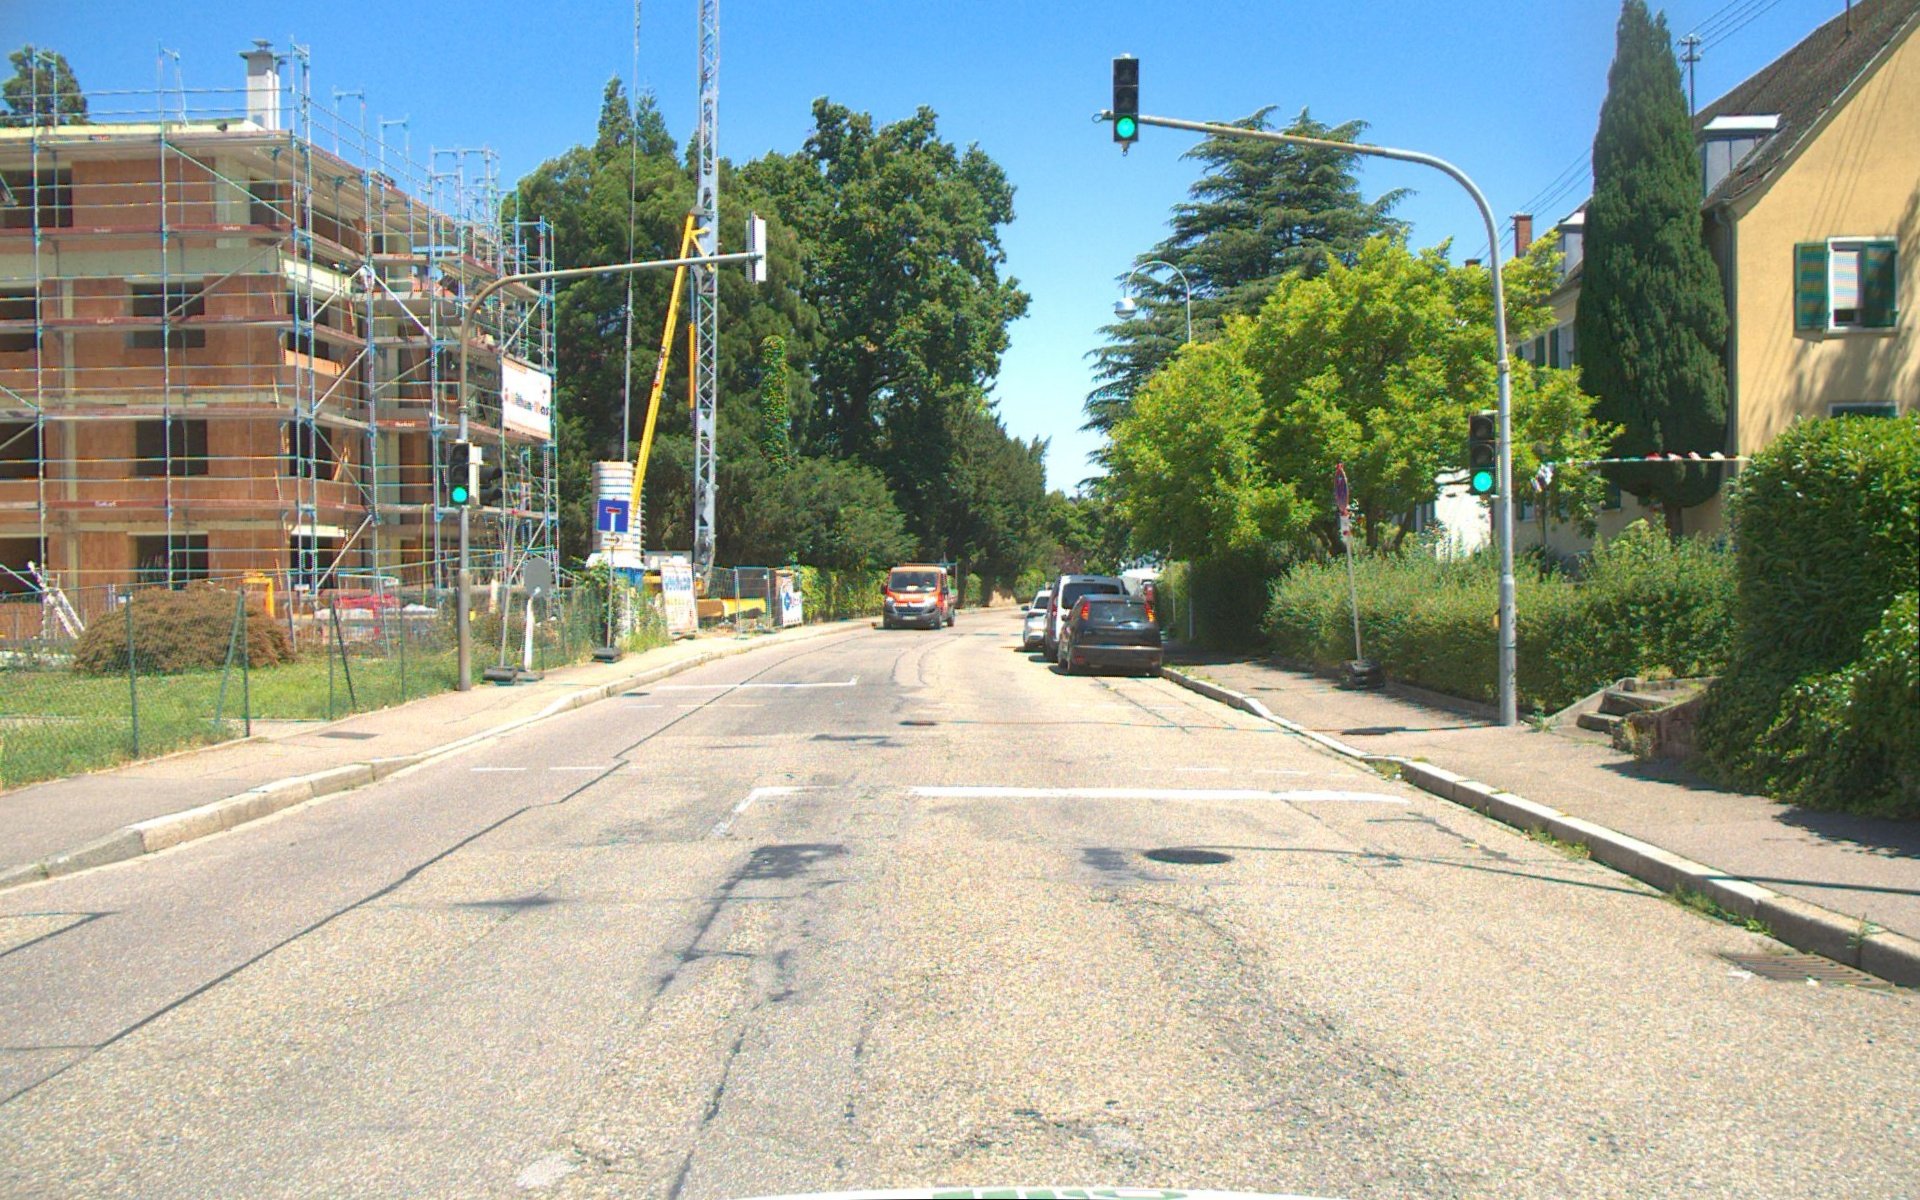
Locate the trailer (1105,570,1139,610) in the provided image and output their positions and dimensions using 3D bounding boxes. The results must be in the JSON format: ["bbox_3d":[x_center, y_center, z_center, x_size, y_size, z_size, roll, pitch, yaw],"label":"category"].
[{"bbox_3d":[8.833,-0.571,90.083,1.644,2.104,3.711,2,1,8],"label":"trailer"}]

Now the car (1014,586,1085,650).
[{"bbox_3d":[2.228,0.417,40.900,1.627,1.460,4.131,2,0,4],"label":"car"}]

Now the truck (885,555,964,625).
[{"bbox_3d":[-1.214,-0.381,59.875,2.082,2.379,6.439,1,1,6],"label":"truck"}]

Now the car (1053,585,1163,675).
[{"bbox_3d":[2.685,0.502,30.693,1.595,1.488,4.016,3,0,0],"label":"car"}]

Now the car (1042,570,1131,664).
[{"bbox_3d":[2.654,0.327,35.484,1.627,1.834,4.204,3,0,2],"label":"car"}]
